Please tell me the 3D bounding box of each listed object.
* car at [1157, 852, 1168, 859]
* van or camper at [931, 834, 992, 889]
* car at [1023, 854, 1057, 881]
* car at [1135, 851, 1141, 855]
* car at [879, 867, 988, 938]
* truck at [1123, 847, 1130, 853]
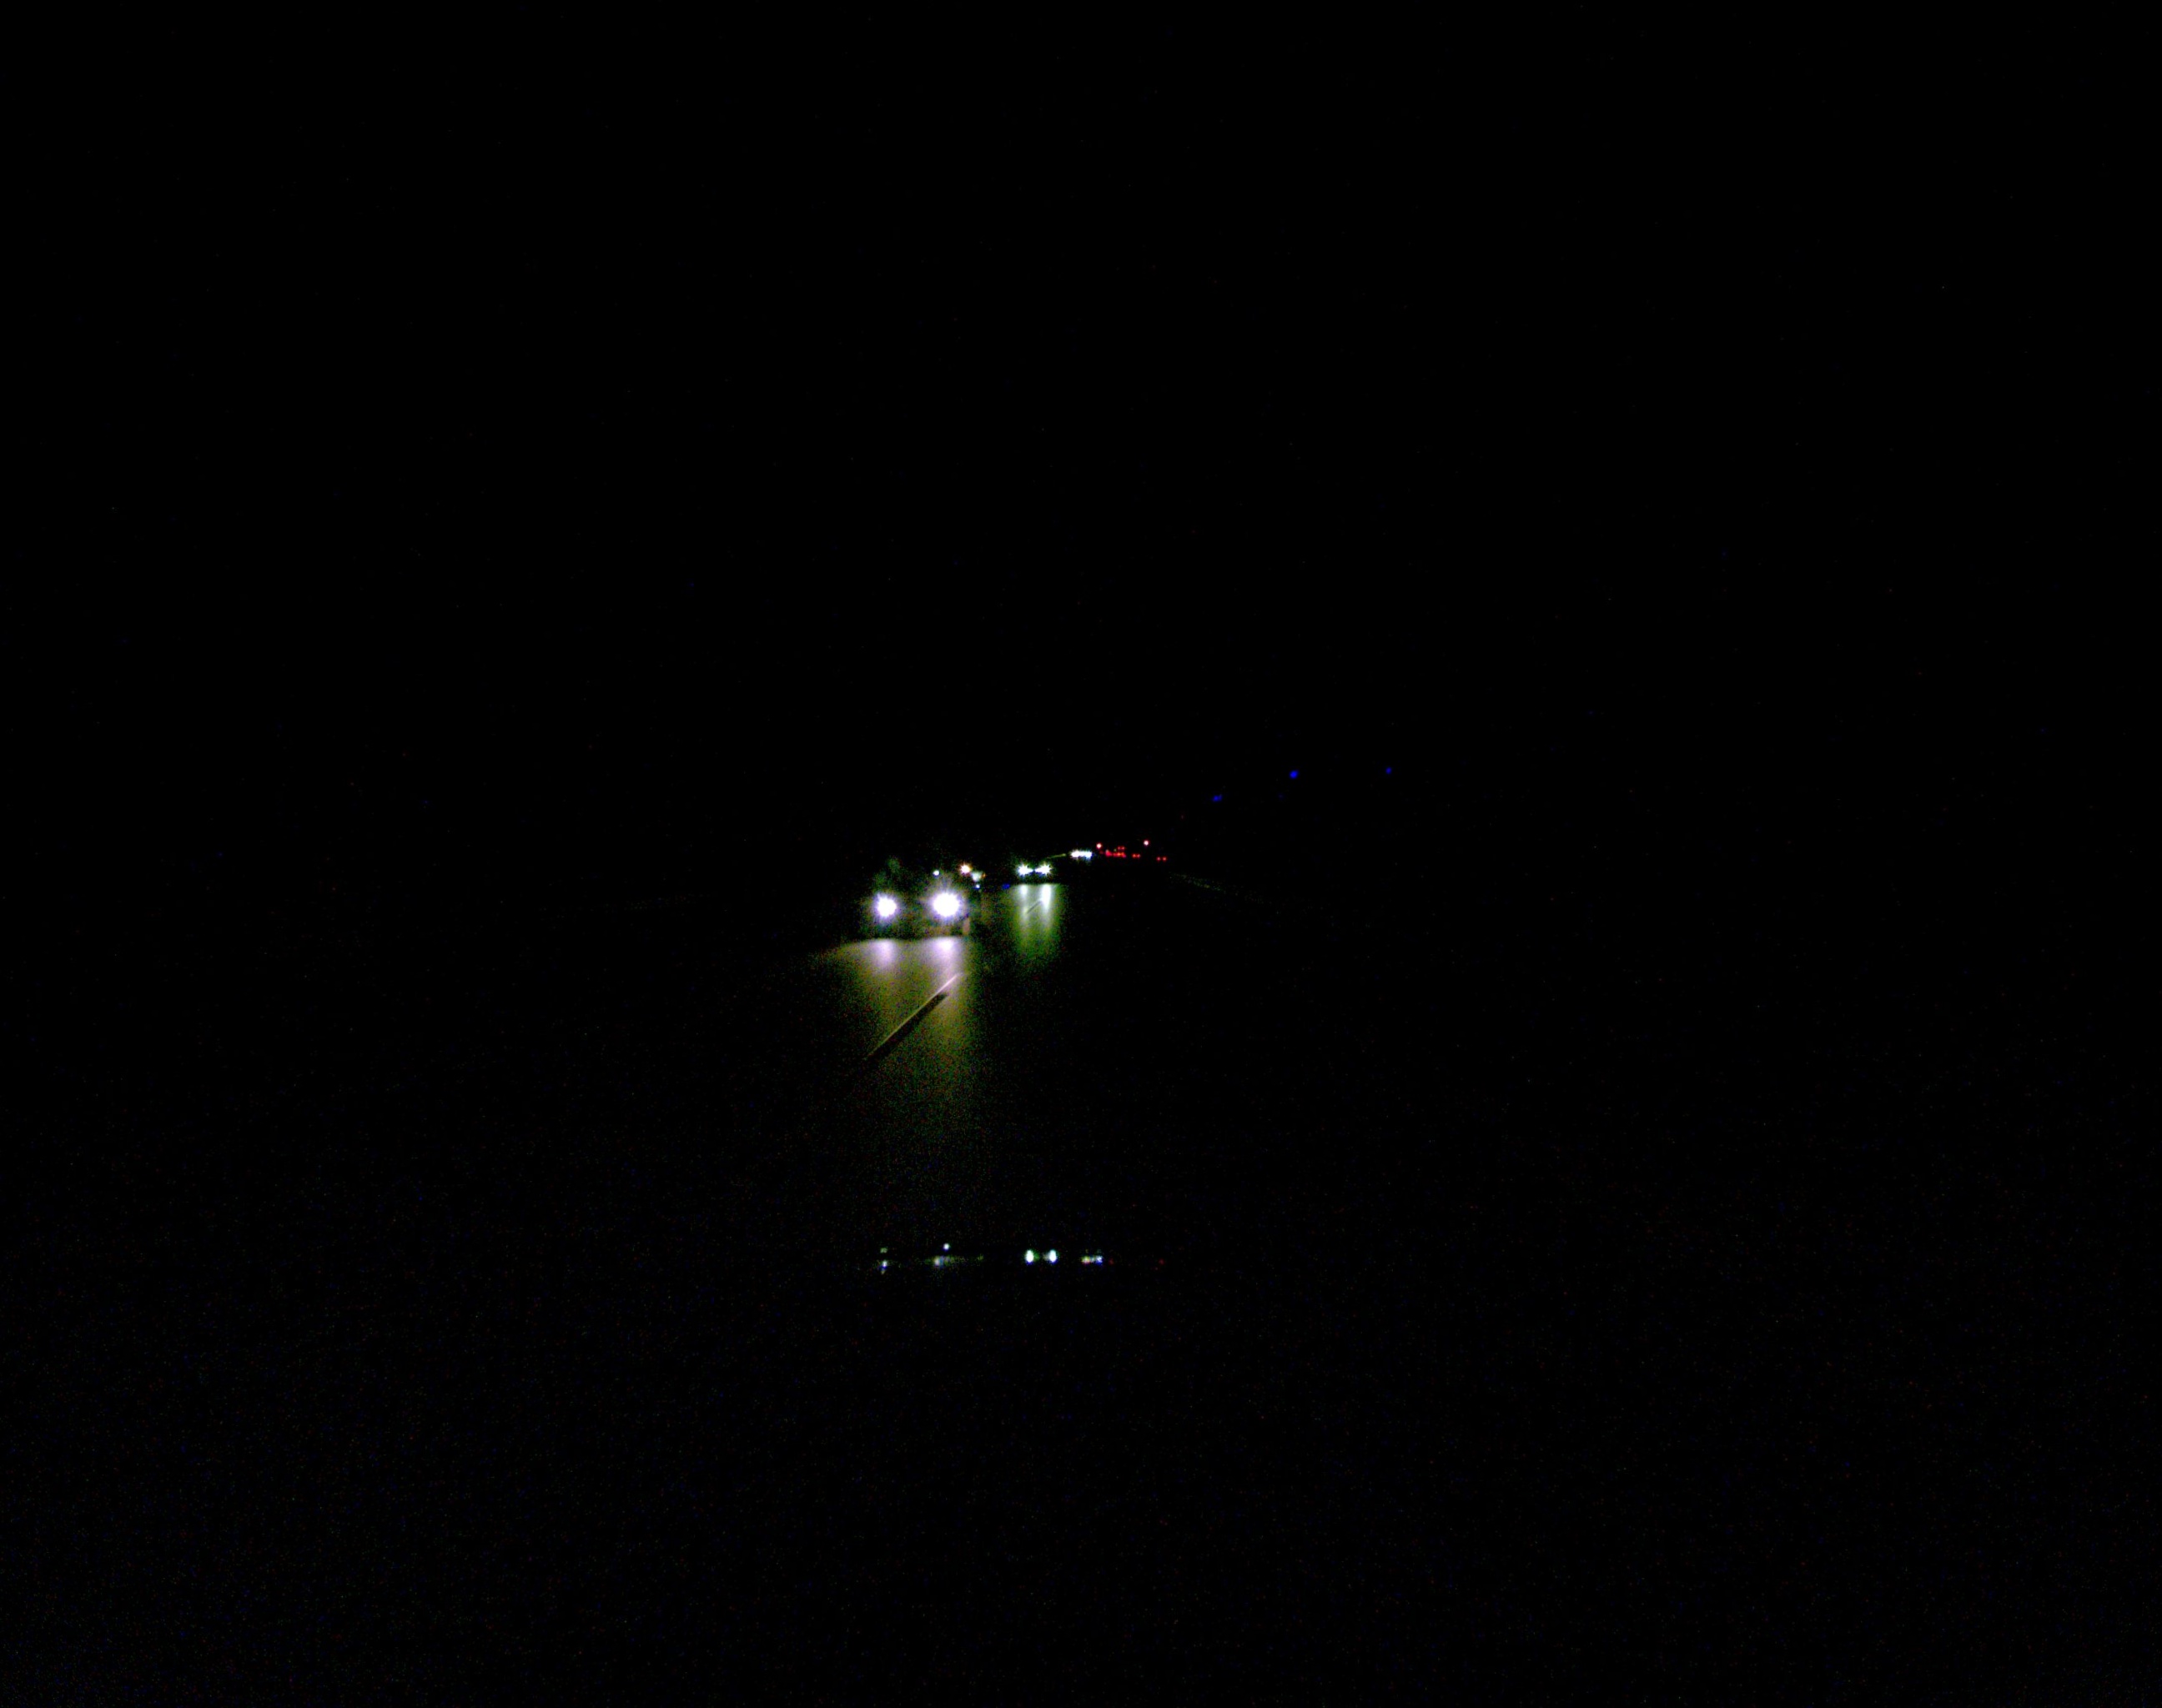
[{"bbox_3d":[18.607,0.313,173.701,1.999,1.495,5.200,1,0,-1],"label":"car"},{"bbox_3d":[-6.516,0.361,42.261,2.212,2.755,6.803,-2,0,0],"label":"van or camper"},{"bbox_3d":[-2.576,0.848,48.746,1.795,1.532,4.225,-3,0,1],"label":"car"},{"bbox_3d":[19.870,-0.292,265.614,1.998,1.476,4.800,0,0,1],"label":"car"},{"bbox_3d":[-3.344,1.061,18.008,1.690,1.405,4.226,-1,0,1],"label":"car"},{"bbox_3d":[15.268,-1.404,256.146,1.998,1.931,5.240,0,1,1],"label":"truck"}]
